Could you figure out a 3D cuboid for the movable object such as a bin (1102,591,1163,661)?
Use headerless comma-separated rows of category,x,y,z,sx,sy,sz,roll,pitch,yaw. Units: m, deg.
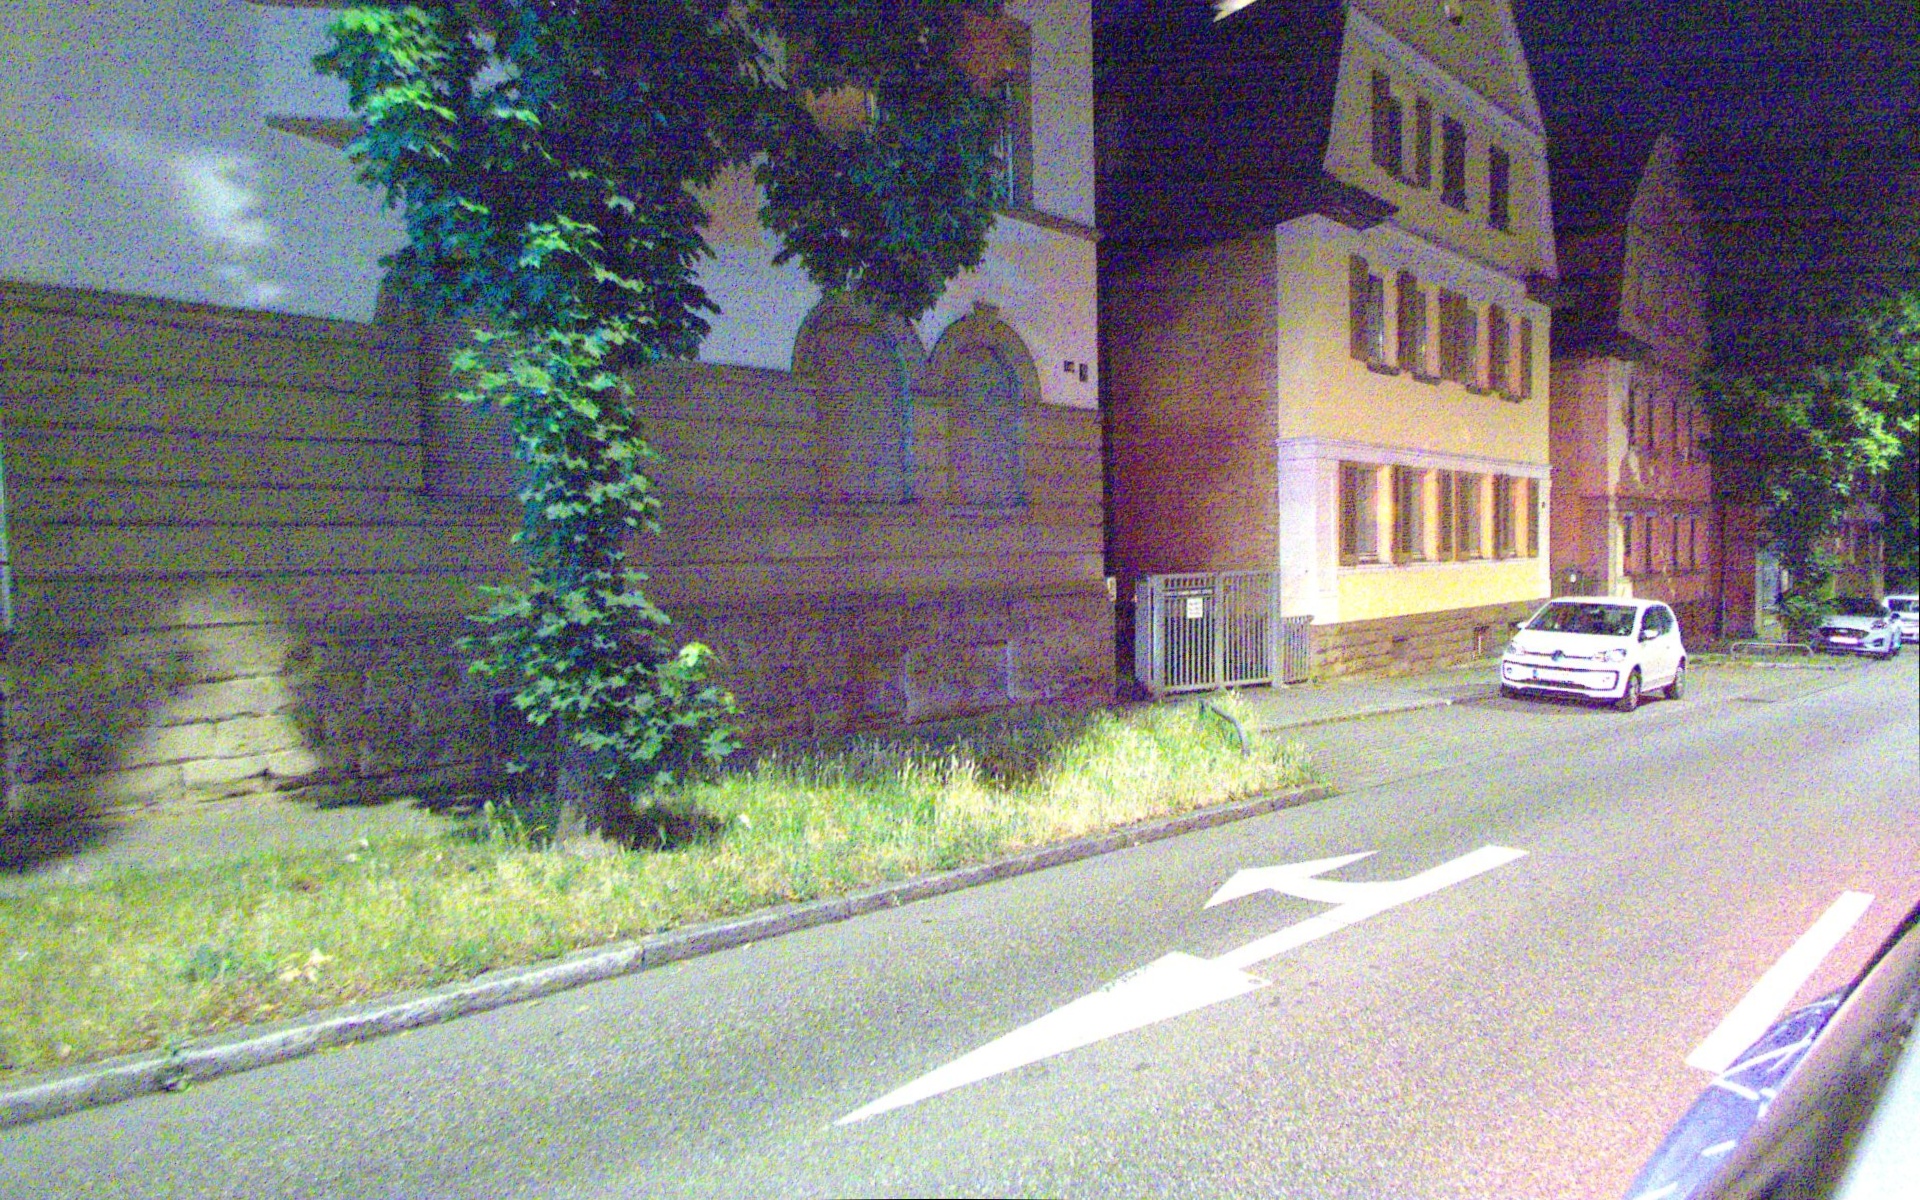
movable object such as a bin,2.702,0.388,15.818,0.742,1.062,0.608,0,0,-41

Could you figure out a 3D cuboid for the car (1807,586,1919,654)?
car,23.804,0.472,26.580,3.977,1.572,1.862,0,3,-43

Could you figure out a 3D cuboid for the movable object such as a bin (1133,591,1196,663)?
movable object such as a bin,3.093,0.396,15.312,0.742,1.062,0.608,0,0,-41

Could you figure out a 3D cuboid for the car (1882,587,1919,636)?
car,33.787,0.391,35.350,4.281,1.616,1.742,0,3,-40

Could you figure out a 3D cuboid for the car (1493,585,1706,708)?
car,9.321,0.578,14.659,3.541,1.503,1.671,0,2,-42
